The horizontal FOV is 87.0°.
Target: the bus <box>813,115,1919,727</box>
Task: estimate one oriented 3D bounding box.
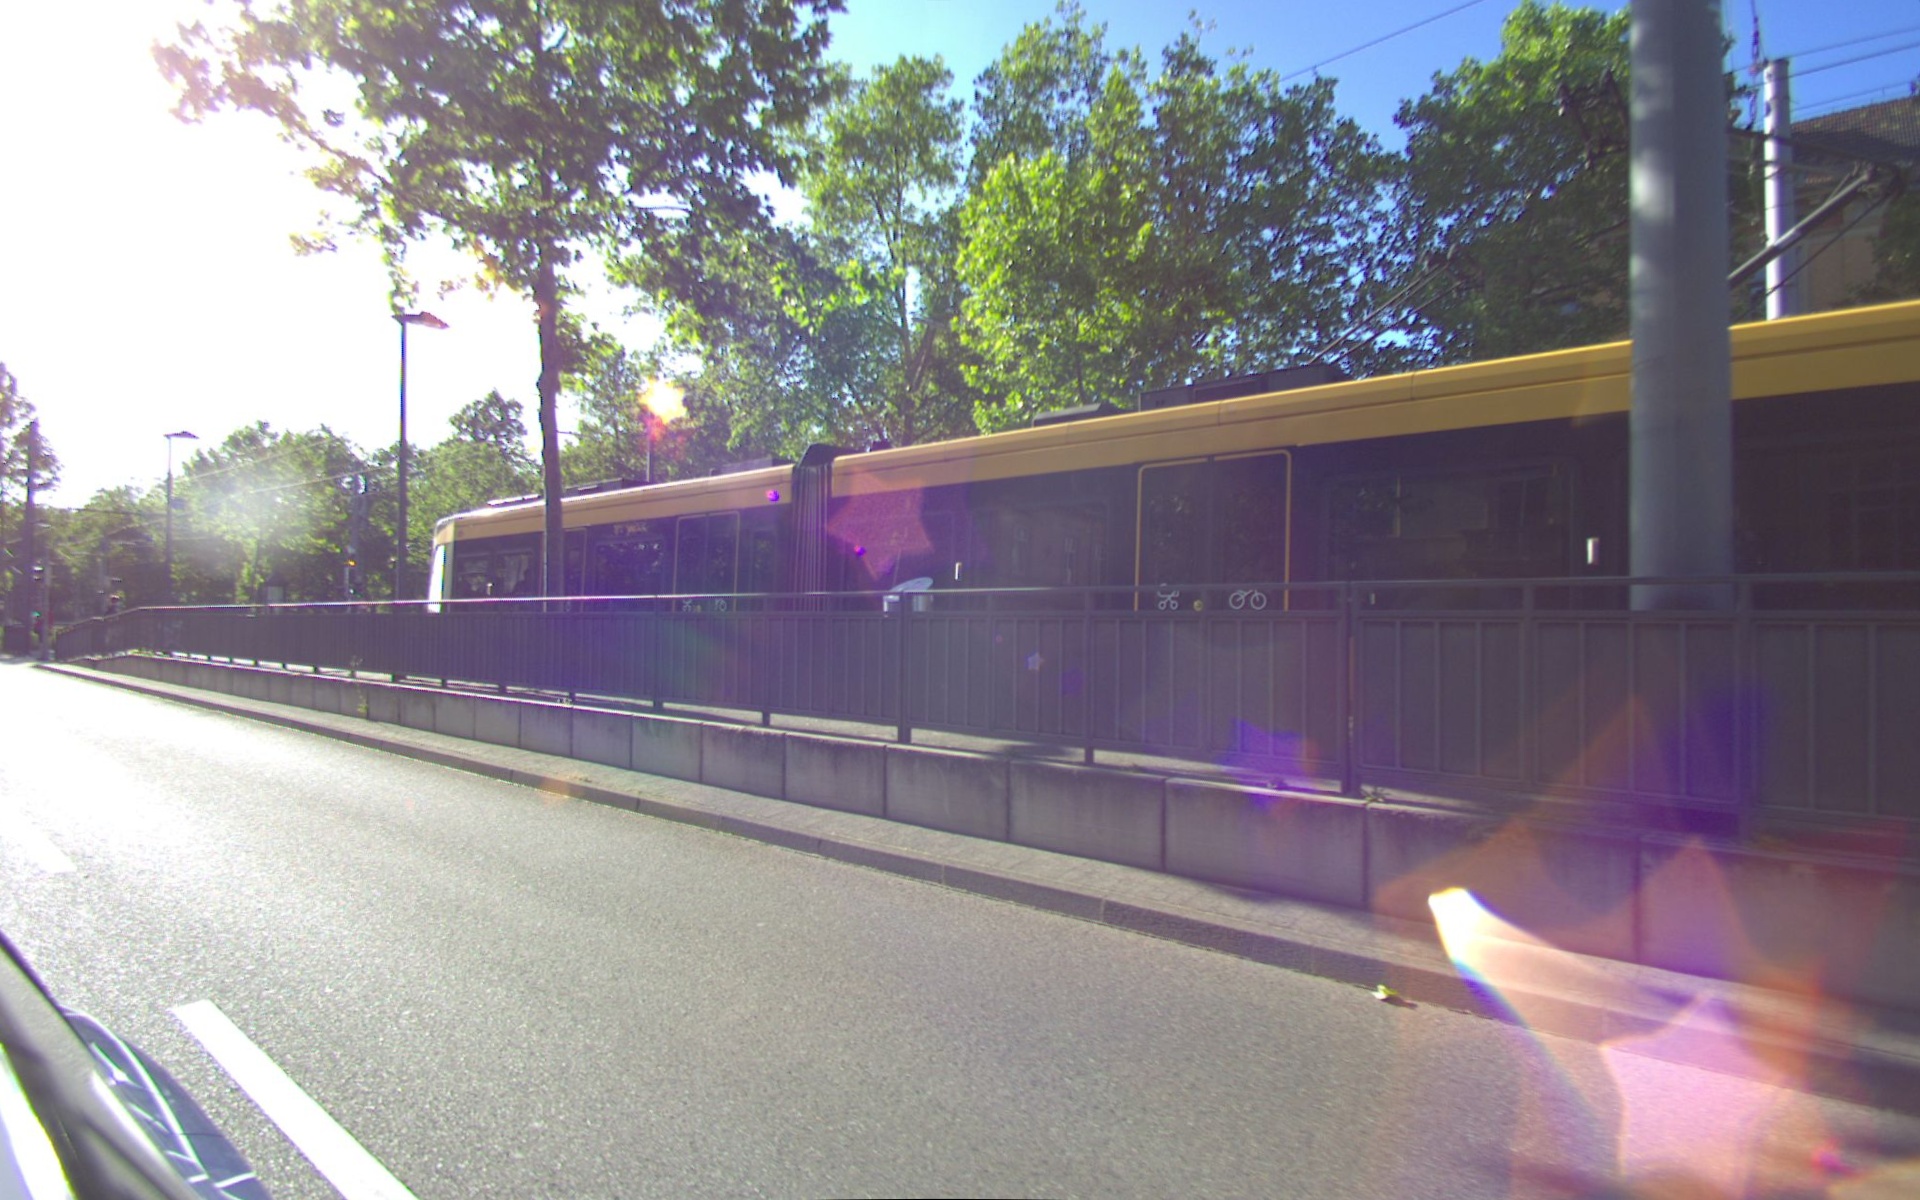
[{"bbox_3d":[3.726,-0.926,9.157,12.210,3.470,2.839,-2,-2,42],"label":"bus"}]

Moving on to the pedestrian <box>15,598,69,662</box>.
[{"bbox_3d":[-28.230,0.921,31.125,1.126,1.930,1.061,-1,-1,39],"label":"pedestrian"}]

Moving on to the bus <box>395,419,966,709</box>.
[{"bbox_3d":[-5.785,-0.275,17.565,13.211,3.470,2.839,-2,-2,42],"label":"bus"}]

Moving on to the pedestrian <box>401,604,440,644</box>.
[{"bbox_3d":[-22.716,0.992,42.613,0.890,1.656,1.167,0,-1,34],"label":"pedestrian"}]

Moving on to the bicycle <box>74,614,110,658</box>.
[{"bbox_3d":[-24.552,1.012,28.612,1.825,1.223,0.325,-1,-1,36],"label":"bicycle"}]

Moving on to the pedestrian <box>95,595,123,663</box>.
[{"bbox_3d":[-24.246,0.819,28.829,0.583,1.917,0.447,-1,-1,34],"label":"pedestrian"}]
